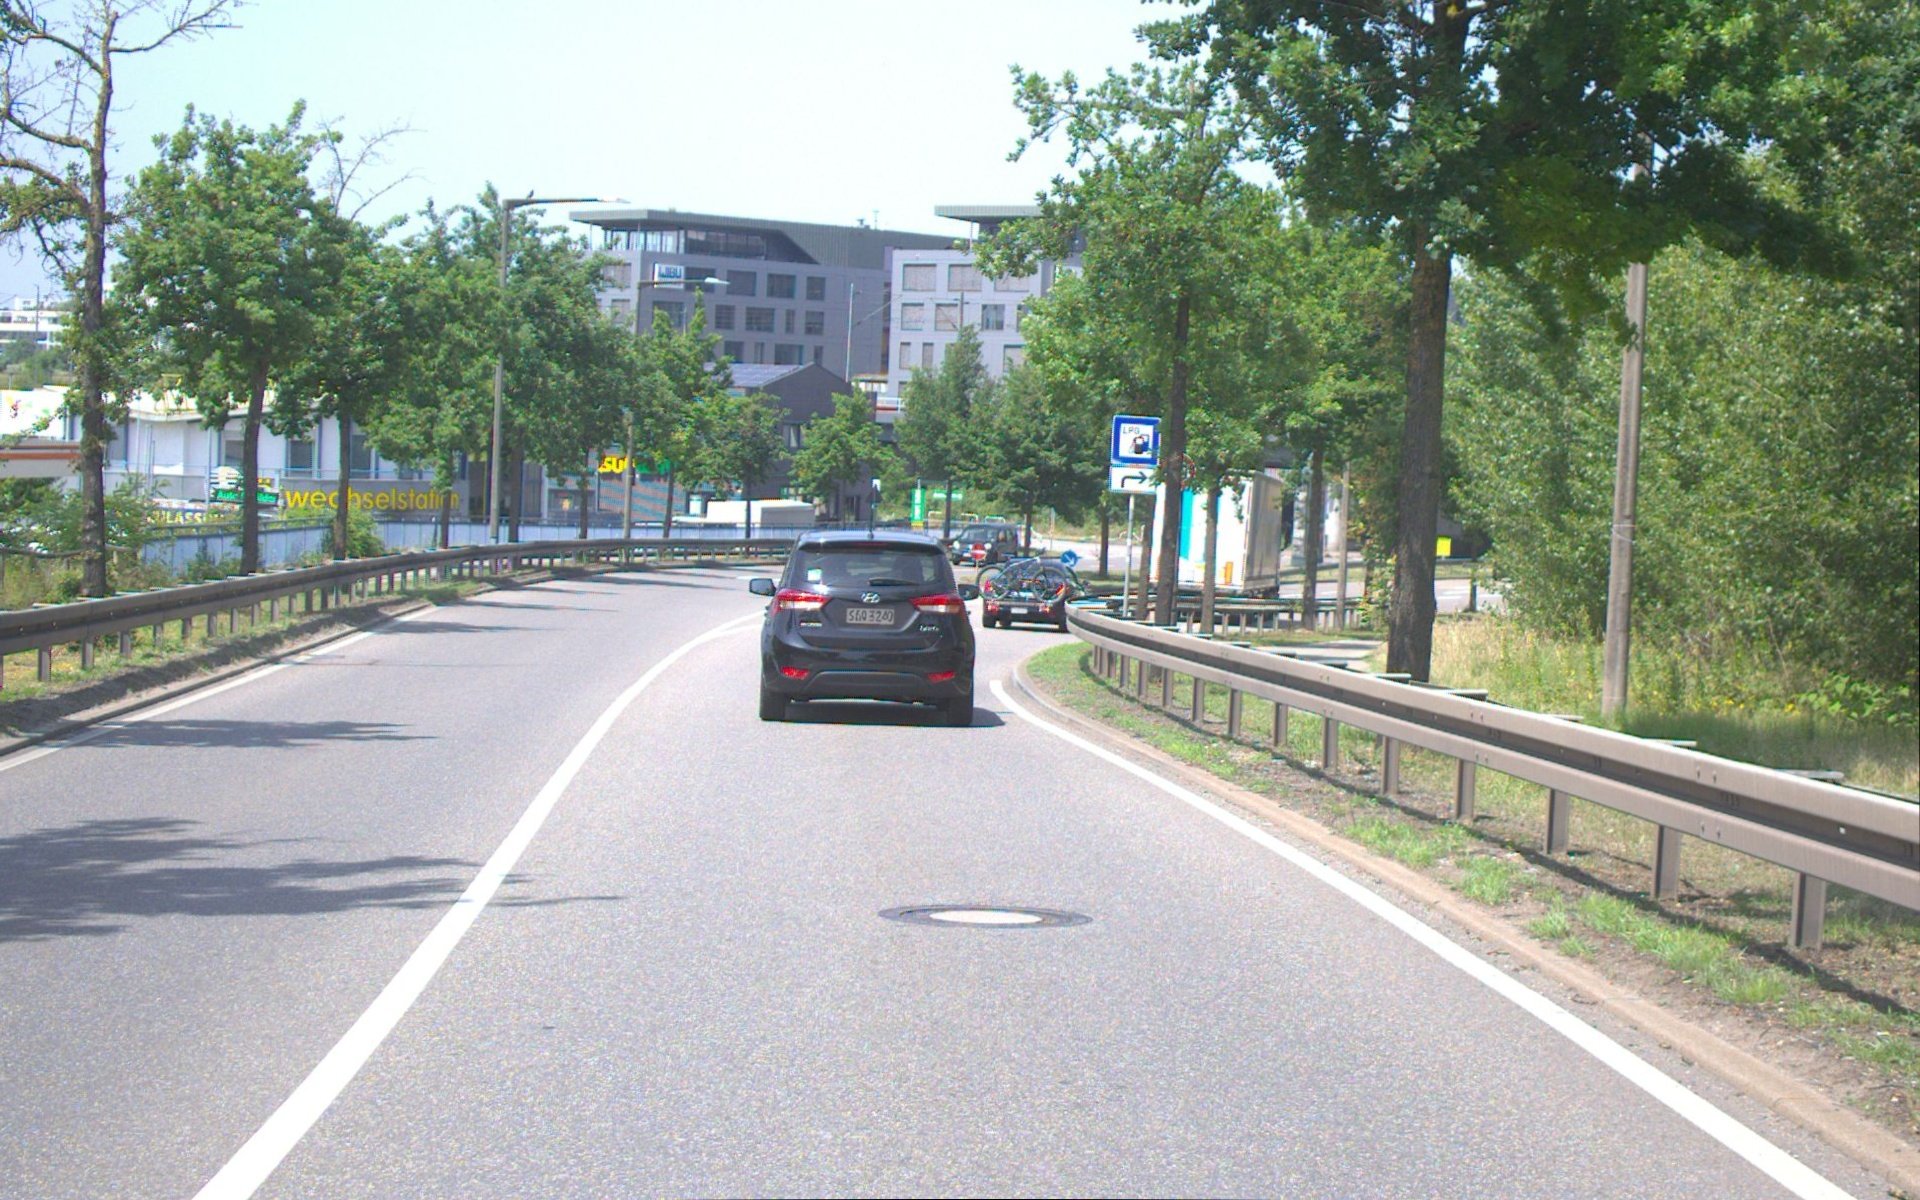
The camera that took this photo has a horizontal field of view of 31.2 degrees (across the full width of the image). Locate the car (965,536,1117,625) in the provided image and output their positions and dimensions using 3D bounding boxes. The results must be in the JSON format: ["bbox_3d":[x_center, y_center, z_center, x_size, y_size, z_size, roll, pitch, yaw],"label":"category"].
[{"bbox_3d":[1.643,-0.397,68.102,1.958,1.628,4.277,2,1,16],"label":"car"}]

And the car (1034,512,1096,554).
[{"bbox_3d":[4.818,-3.043,157.313,1.808,1.753,4.249,4,1,15],"label":"car"}]

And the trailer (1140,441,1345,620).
[{"bbox_3d":[7.907,-2.005,93.916,3.080,4.353,14.766,3,3,14],"label":"trailer"}]

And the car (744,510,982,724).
[{"bbox_3d":[-0.900,0.084,29.513,1.767,1.593,4.078,3,1,-4],"label":"car"}]
